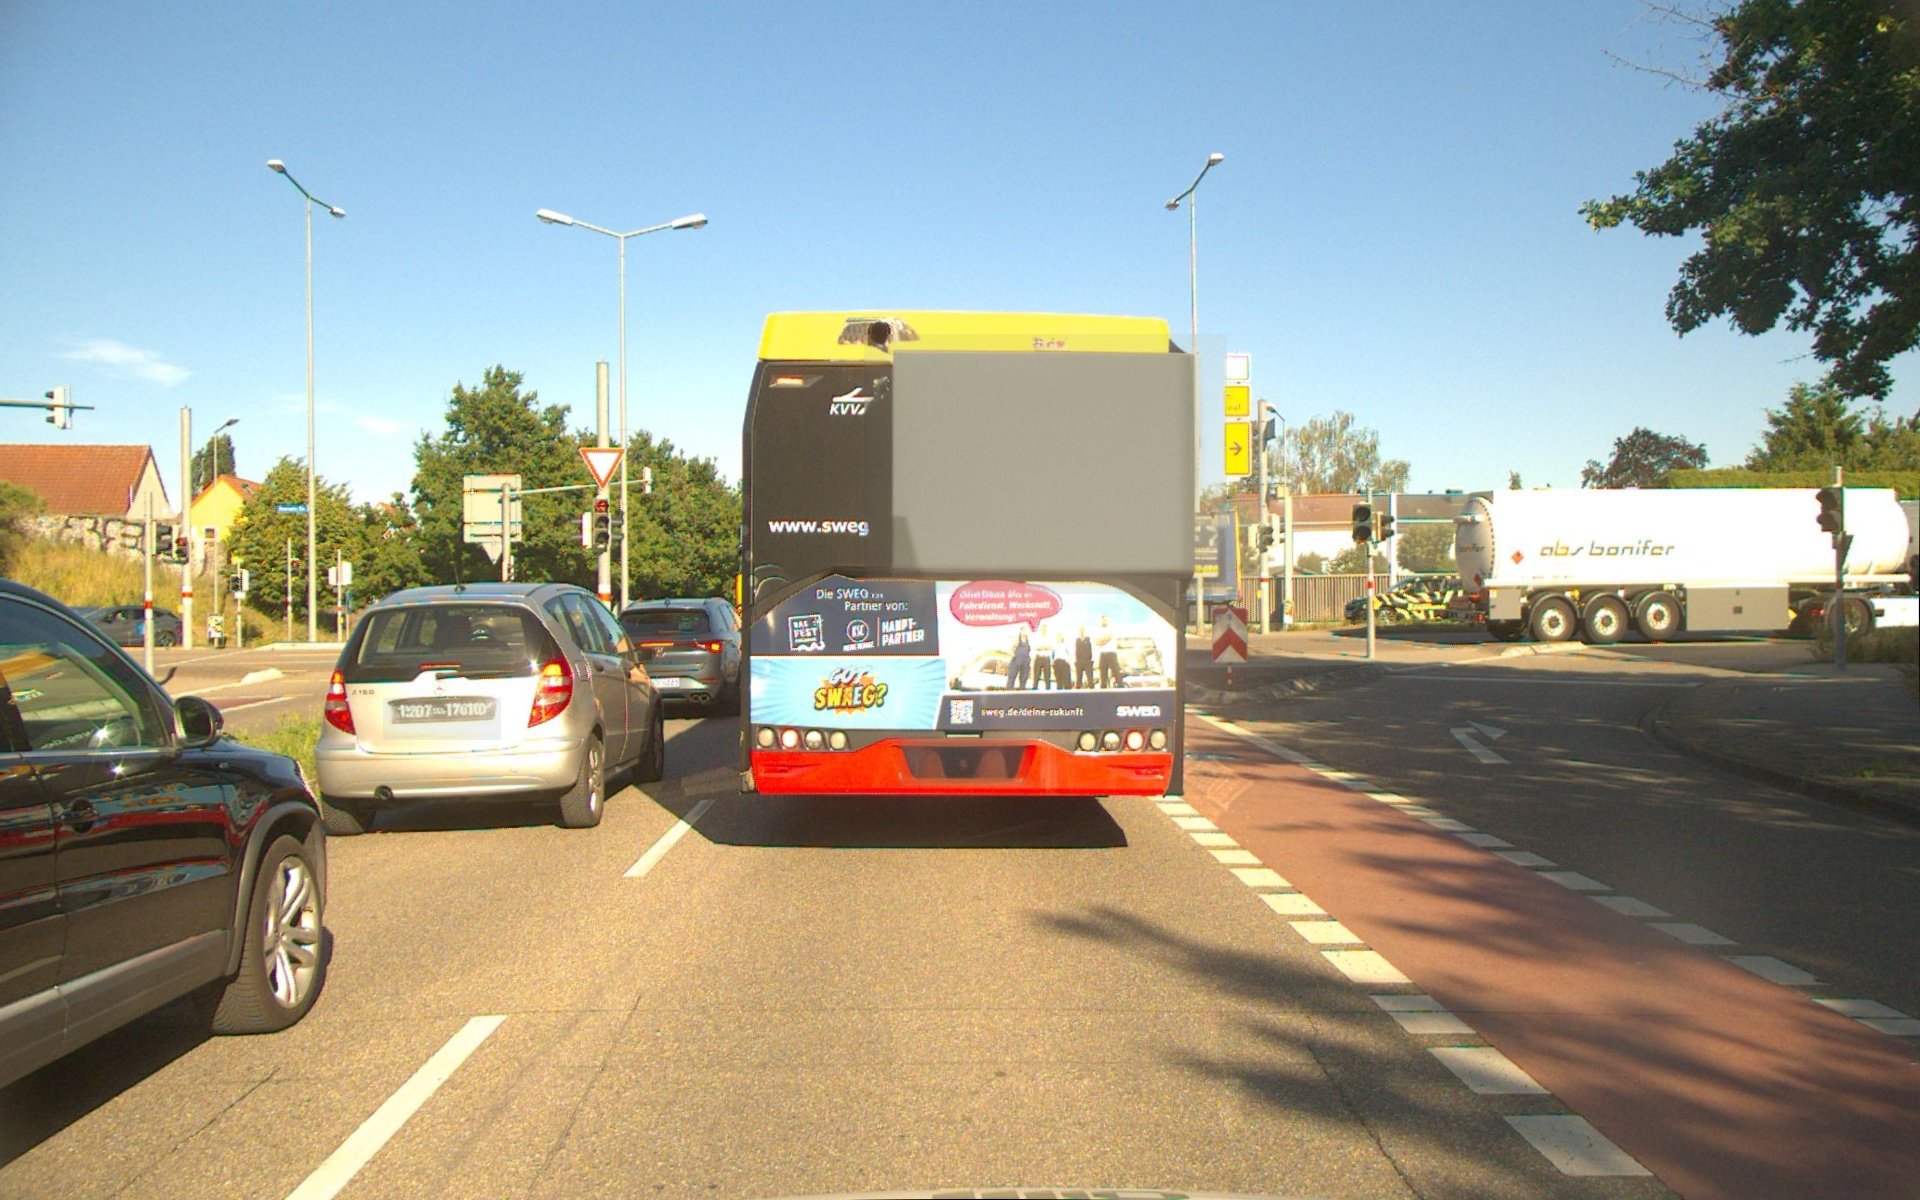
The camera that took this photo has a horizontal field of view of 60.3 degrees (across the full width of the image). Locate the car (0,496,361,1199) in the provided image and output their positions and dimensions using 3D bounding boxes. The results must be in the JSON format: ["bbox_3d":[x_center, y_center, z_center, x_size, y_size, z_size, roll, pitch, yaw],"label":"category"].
[{"bbox_3d":[-3.175,0.636,4.330,1.784,1.703,4.001,-2,-1,-1],"label":"car"}]

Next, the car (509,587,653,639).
[{"bbox_3d":[-11.042,0.385,48.370,3.911,1.467,1.563,1,-1,-7],"label":"car"}]

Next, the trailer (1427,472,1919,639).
[{"bbox_3d":[16.926,-1.047,39.182,11.259,3.761,2.391,0,0,-8],"label":"trailer"}]

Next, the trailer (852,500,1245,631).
[{"bbox_3d":[2.822,-1.121,53.538,12.492,4.100,2.466,0,0,-8],"label":"trailer"}]

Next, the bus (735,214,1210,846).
[{"bbox_3d":[-0.018,-0.394,14.958,2.543,3.393,11.981,1,0,-1],"label":"bus"}]

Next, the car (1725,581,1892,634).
[{"bbox_3d":[22.291,0.199,43.493,3.776,1.336,1.504,0,-1,-10],"label":"car"}]

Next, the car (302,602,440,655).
[{"bbox_3d":[-19.088,0.913,53.741,3.910,1.640,1.693,0,0,-7],"label":"car"}]

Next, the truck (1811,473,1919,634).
[{"bbox_3d":[23.555,-1.099,40.088,4.711,3.760,2.406,0,0,-8],"label":"truck"}]

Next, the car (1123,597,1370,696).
[{"bbox_3d":[4.163,0.648,24.293,3.447,1.325,1.576,1,1,8],"label":"car"}]

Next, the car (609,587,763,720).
[{"bbox_3d":[-3.384,0.633,20.941,1.557,1.512,3.679,-1,-1,-4],"label":"car"}]

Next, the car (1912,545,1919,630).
[{"bbox_3d":[16.684,-0.177,25.953,3.355,1.318,1.448,1,-1,-26],"label":"car"}]

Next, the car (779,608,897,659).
[{"bbox_3d":[-4.146,1.120,55.844,3.910,1.640,1.693,0,0,-7],"label":"car"}]

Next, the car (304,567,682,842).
[{"bbox_3d":[-3.188,0.598,12.129,1.718,1.648,4.032,0,1,-2],"label":"car"}]

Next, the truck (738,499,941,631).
[{"bbox_3d":[-3.877,-1.093,52.652,6.277,4.068,2.469,0,0,-8],"label":"truck"}]

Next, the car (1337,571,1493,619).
[{"bbox_3d":[13.168,-0.126,47.955,4.078,1.325,1.573,1,-1,-4],"label":"car"}]
